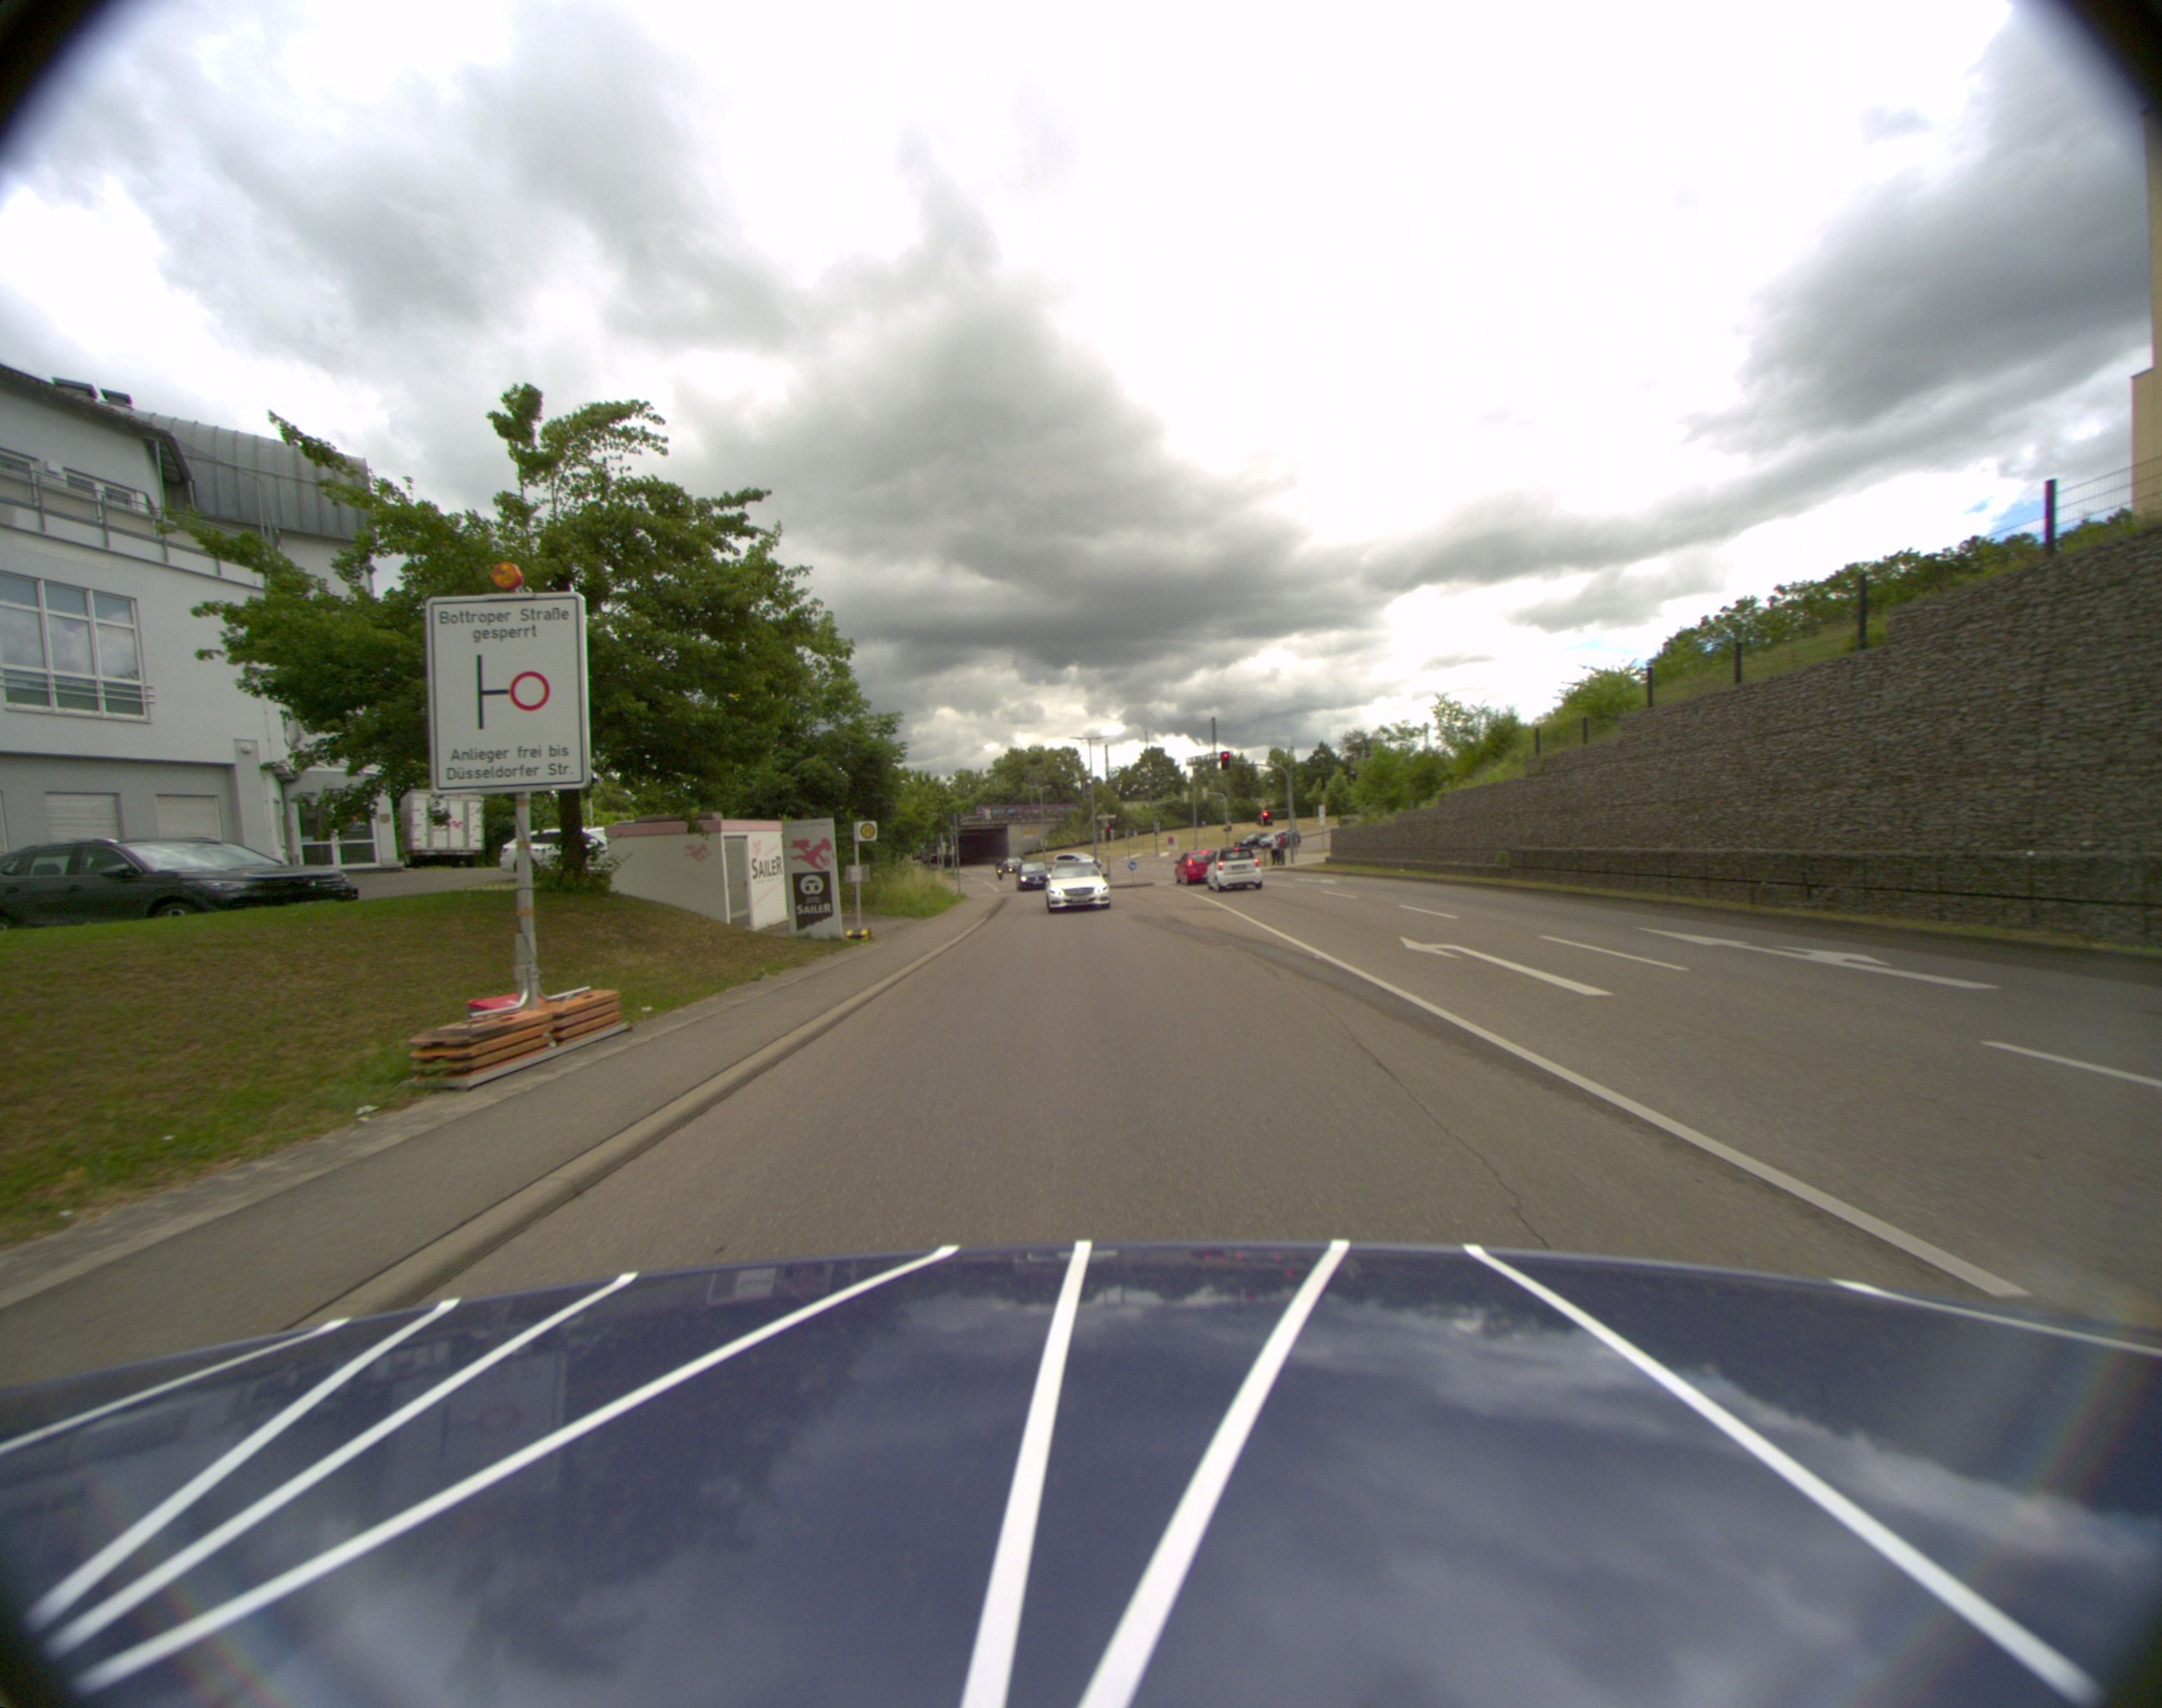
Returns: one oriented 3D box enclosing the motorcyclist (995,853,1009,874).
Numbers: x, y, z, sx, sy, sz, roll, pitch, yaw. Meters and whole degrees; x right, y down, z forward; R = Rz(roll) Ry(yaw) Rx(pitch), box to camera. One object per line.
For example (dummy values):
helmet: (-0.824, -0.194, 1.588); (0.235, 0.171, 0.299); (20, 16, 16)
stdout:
motorcyclist: (-6.297, 0.723, 60.411); (0.883, 1.596, 1.242); (-5, 2, -10)

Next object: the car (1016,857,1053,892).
car: (-2.545, 1.083, 41.131); (1.759, 1.532, 3.997); (-5, 2, -4)

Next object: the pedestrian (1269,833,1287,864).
pedestrian: (11.057, -0.314, 42.661); (0.664, 1.669, 0.625); (-3, 3, 42)

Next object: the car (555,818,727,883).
car: (-14.016, -0.129, 24.297); (4.505, 1.629, 1.832); (-5, 2, 11)

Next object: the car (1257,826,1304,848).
car: (19.639, -1.677, 74.688); (4.267, 1.719, 1.756); (-6, 2, -28)

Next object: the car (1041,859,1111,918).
car: (-0.186, 1.021, 24.082); (1.905, 1.471, 4.093); (-5, 1, -1)

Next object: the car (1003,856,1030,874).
car: (-6.433, 1.057, 75.147); (1.760, 1.525, 4.248); (-6, 2, -15)

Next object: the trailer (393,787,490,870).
trailer: (-27.801, -1.038, 32.911); (2.474, 3.038, 6.476); (-7, 3, -44)

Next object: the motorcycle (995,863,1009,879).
motorcycle: (-6.277, 1.370, 60.639); (0.883, 1.098, 2.358); (-5, 2, -9)

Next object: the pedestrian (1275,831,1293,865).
pedestrian: (11.189, -0.325, 41.893); (0.624, 1.817, 0.665); (-5, 2, -5)

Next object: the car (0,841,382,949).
car: (-12.841, 0.540, 10.819); (4.047, 1.226, 1.912); (-2, 2, 4)

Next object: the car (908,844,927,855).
car: (-28.922, -0.801, 134.090); (1.968, 1.781, 3.991); (-6, 2, -29)

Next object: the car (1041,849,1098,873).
car: (-0.976, 0.591, 63.184); (4.500, 1.629, 1.834); (-3, 3, 40)

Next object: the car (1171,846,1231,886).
car: (5.282, 0.488, 33.979); (1.759, 1.515, 4.091); (-5, 1, -2)

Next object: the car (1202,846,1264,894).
car: (5.475, 0.545, 27.671); (1.547, 1.514, 2.914); (-5, 1, 0)

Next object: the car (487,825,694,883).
car: (-13.693, -0.021, 21.360); (4.706, 1.373, 1.715); (-2, 3, 4)
